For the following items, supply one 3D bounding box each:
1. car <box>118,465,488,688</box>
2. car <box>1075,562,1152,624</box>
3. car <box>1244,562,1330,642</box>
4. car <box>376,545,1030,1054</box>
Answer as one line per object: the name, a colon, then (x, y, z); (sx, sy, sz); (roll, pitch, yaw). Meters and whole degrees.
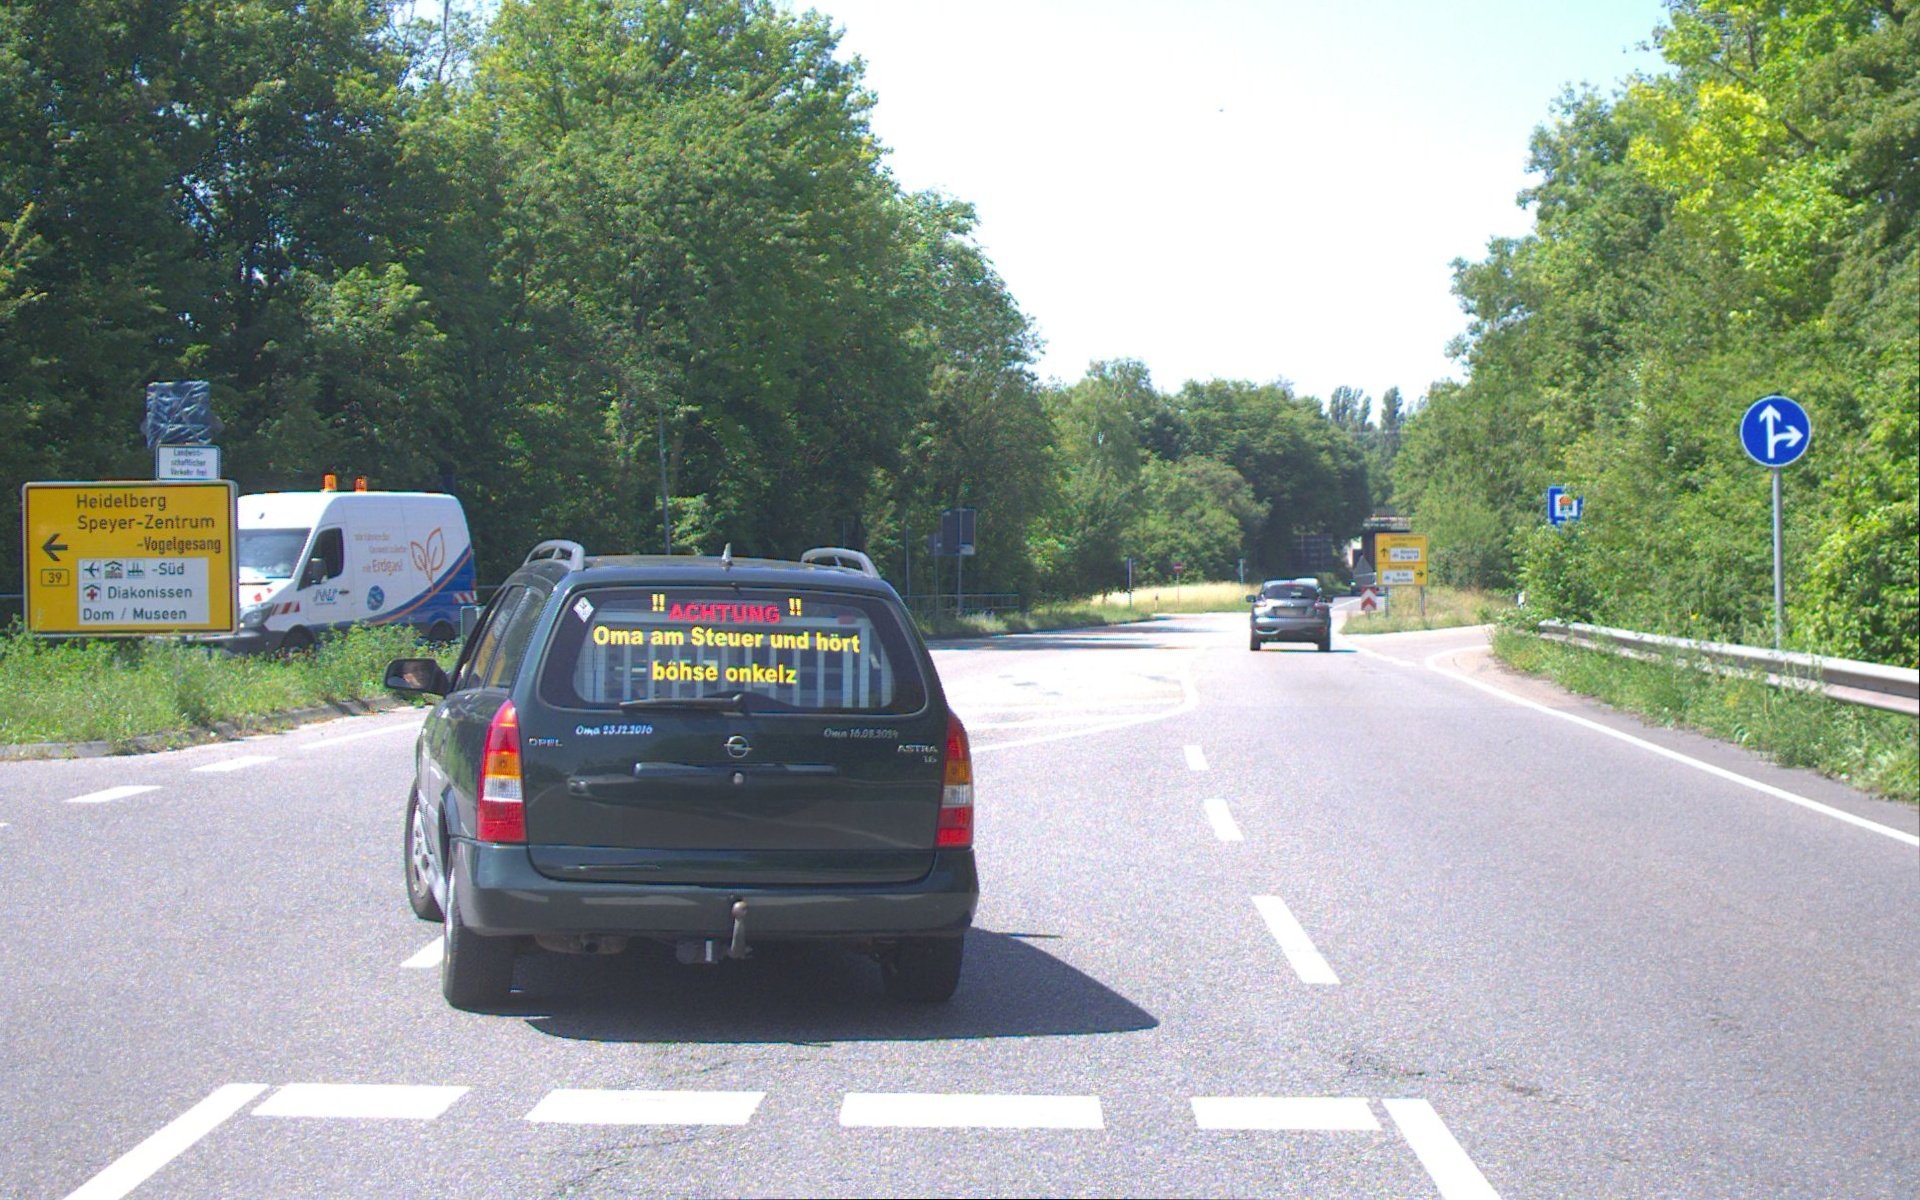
car: (-8.839, -0.329, 46.952); (2.107, 2.840, 6.005); (1, 1, 21)
car: (8.178, -0.396, 184.040); (1.993, 3.215, 4.809); (-1, 1, -27)
car: (7.243, 0.019, 76.334); (1.843, 1.679, 4.000); (0, 1, 5)
car: (-1.060, 0.554, 12.049); (1.720, 1.452, 3.799); (0, 1, -13)
